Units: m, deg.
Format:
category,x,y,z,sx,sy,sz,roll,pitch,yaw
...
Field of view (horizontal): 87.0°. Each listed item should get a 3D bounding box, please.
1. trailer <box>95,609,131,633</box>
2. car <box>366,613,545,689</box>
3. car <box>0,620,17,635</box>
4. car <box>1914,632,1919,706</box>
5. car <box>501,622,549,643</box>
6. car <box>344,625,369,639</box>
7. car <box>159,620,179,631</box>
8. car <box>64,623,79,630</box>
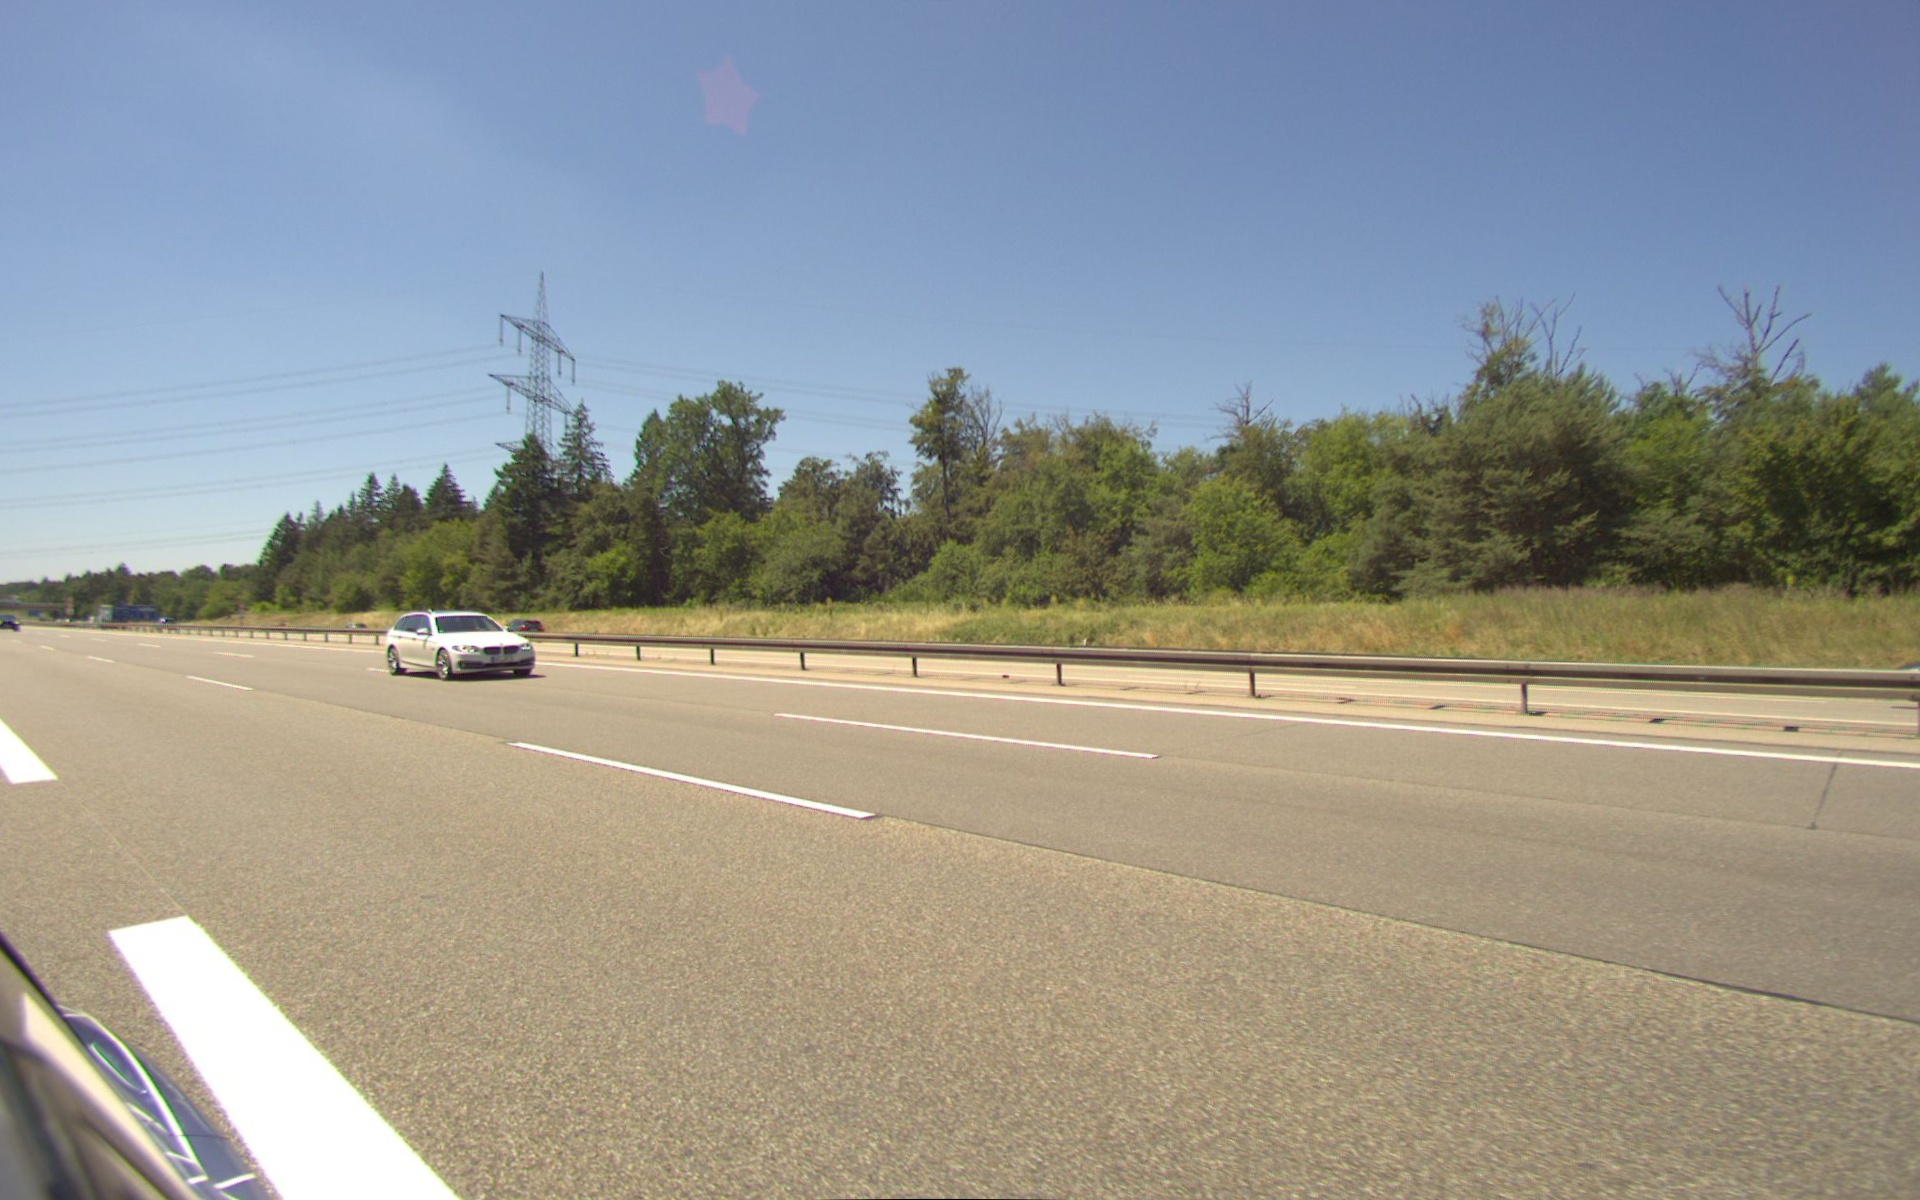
category,x,y,z,sx,sy,sz,roll,pitch,yaw
trailer,-158.298,3.952,189.015,13.981,4.204,3.168,-1,-3,42
car,-11.644,1.075,23.174,5.405,1.515,1.942,0,0,43
car,-94.602,2.696,100.046,1.872,1.436,4.264,-1,0,-45
car,20.248,1.293,18.024,4.676,1.402,1.672,-1,-4,43
car,-33.243,2.456,77.257,4.437,1.431,1.769,-1,0,44
car,-69.575,3.669,116.662,3.567,1.488,1.603,-1,-1,44
car,-103.027,3.300,131.790,3.567,1.366,1.546,-1,-1,44
car,-175.823,5.180,200.313,4.432,1.413,1.742,-1,-3,42
